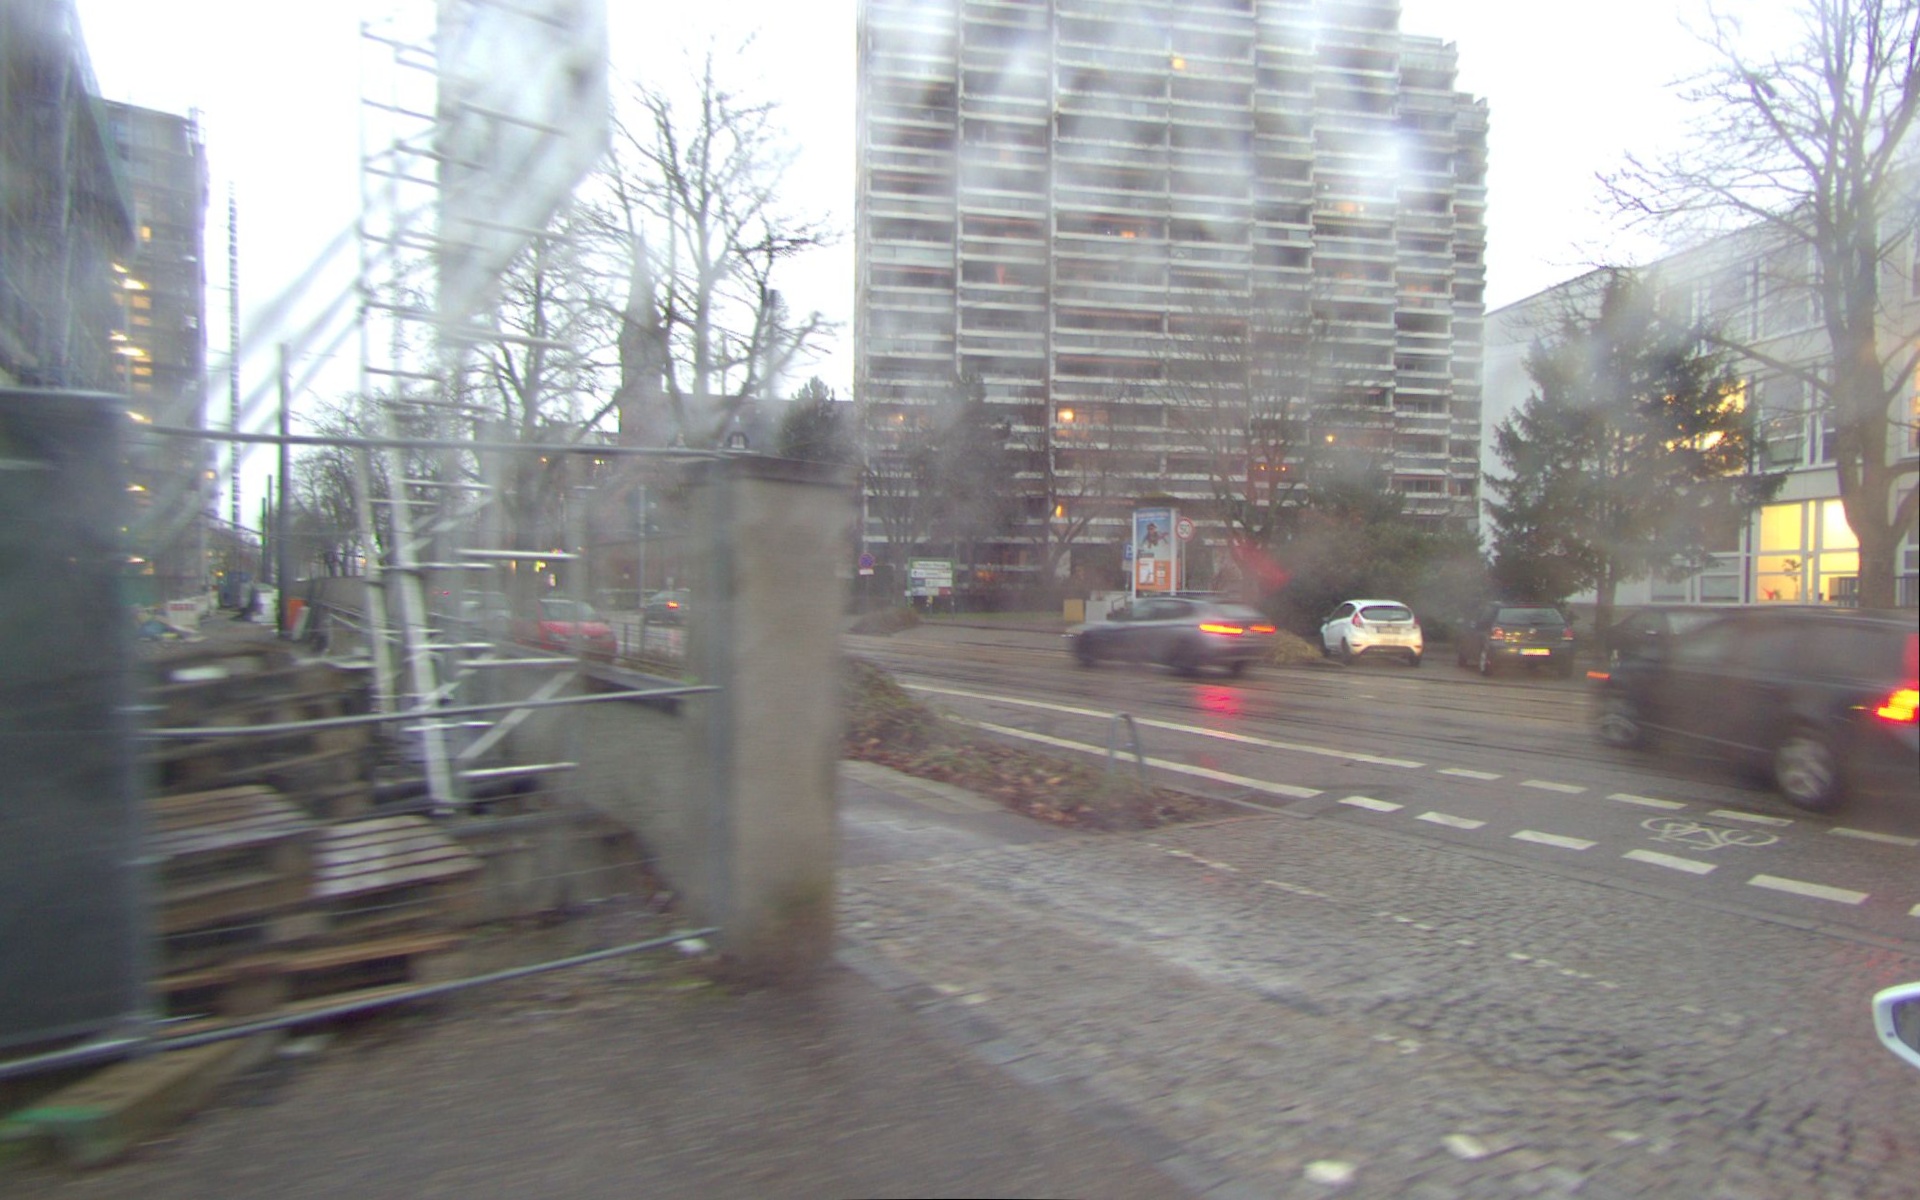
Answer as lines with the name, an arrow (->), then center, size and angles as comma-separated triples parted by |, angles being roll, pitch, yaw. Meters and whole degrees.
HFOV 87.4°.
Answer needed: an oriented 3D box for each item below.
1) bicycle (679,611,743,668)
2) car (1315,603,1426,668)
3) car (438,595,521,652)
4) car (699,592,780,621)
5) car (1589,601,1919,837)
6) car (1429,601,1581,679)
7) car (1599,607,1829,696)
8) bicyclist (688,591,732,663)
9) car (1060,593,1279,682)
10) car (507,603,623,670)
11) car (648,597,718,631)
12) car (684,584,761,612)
bicycle -> -5.176, 0.798, 20.799 | 0.702, 1.111, 2.011 | 1, 0, -32
car -> 9.757, 0.794, 24.168 | 1.818, 1.418, 4.002 | 0, 0, 12
car -> -14.427, 0.672, 30.058 | 1.736, 1.605, 3.701 | 1, -1, -34
car -> -11.846, 0.356, 54.081 | 3.953, 1.506, 1.659 | 1, 0, -30
car -> 7.403, 0.821, 8.693 | 1.717, 1.565, 4.298 | 0, 0, 8
car -> 11.457, 0.789, 21.418 | 1.818, 1.482, 4.002 | 0, 0, 12
car -> 13.384, 0.849, 18.157 | 1.818, 1.397, 4.002 | 0, 0, 12
bicyclist -> -5.195, 0.555, 20.846 | 0.651, 1.465, 0.842 | 1, 0, -32
car -> 4.106, 0.687, 20.346 | 1.696, 1.600, 4.334 | 1, -1, -36
car -> -9.121, 0.778, 23.025 | 1.736, 1.405, 3.701 | 1, -1, -34
car -> -12.322, 0.593, 44.555 | 1.749, 1.430, 3.961 | 1, -1, -35
car -> -13.521, -0.076, 57.233 | 3.953, 1.506, 1.659 | 1, 0, -30
